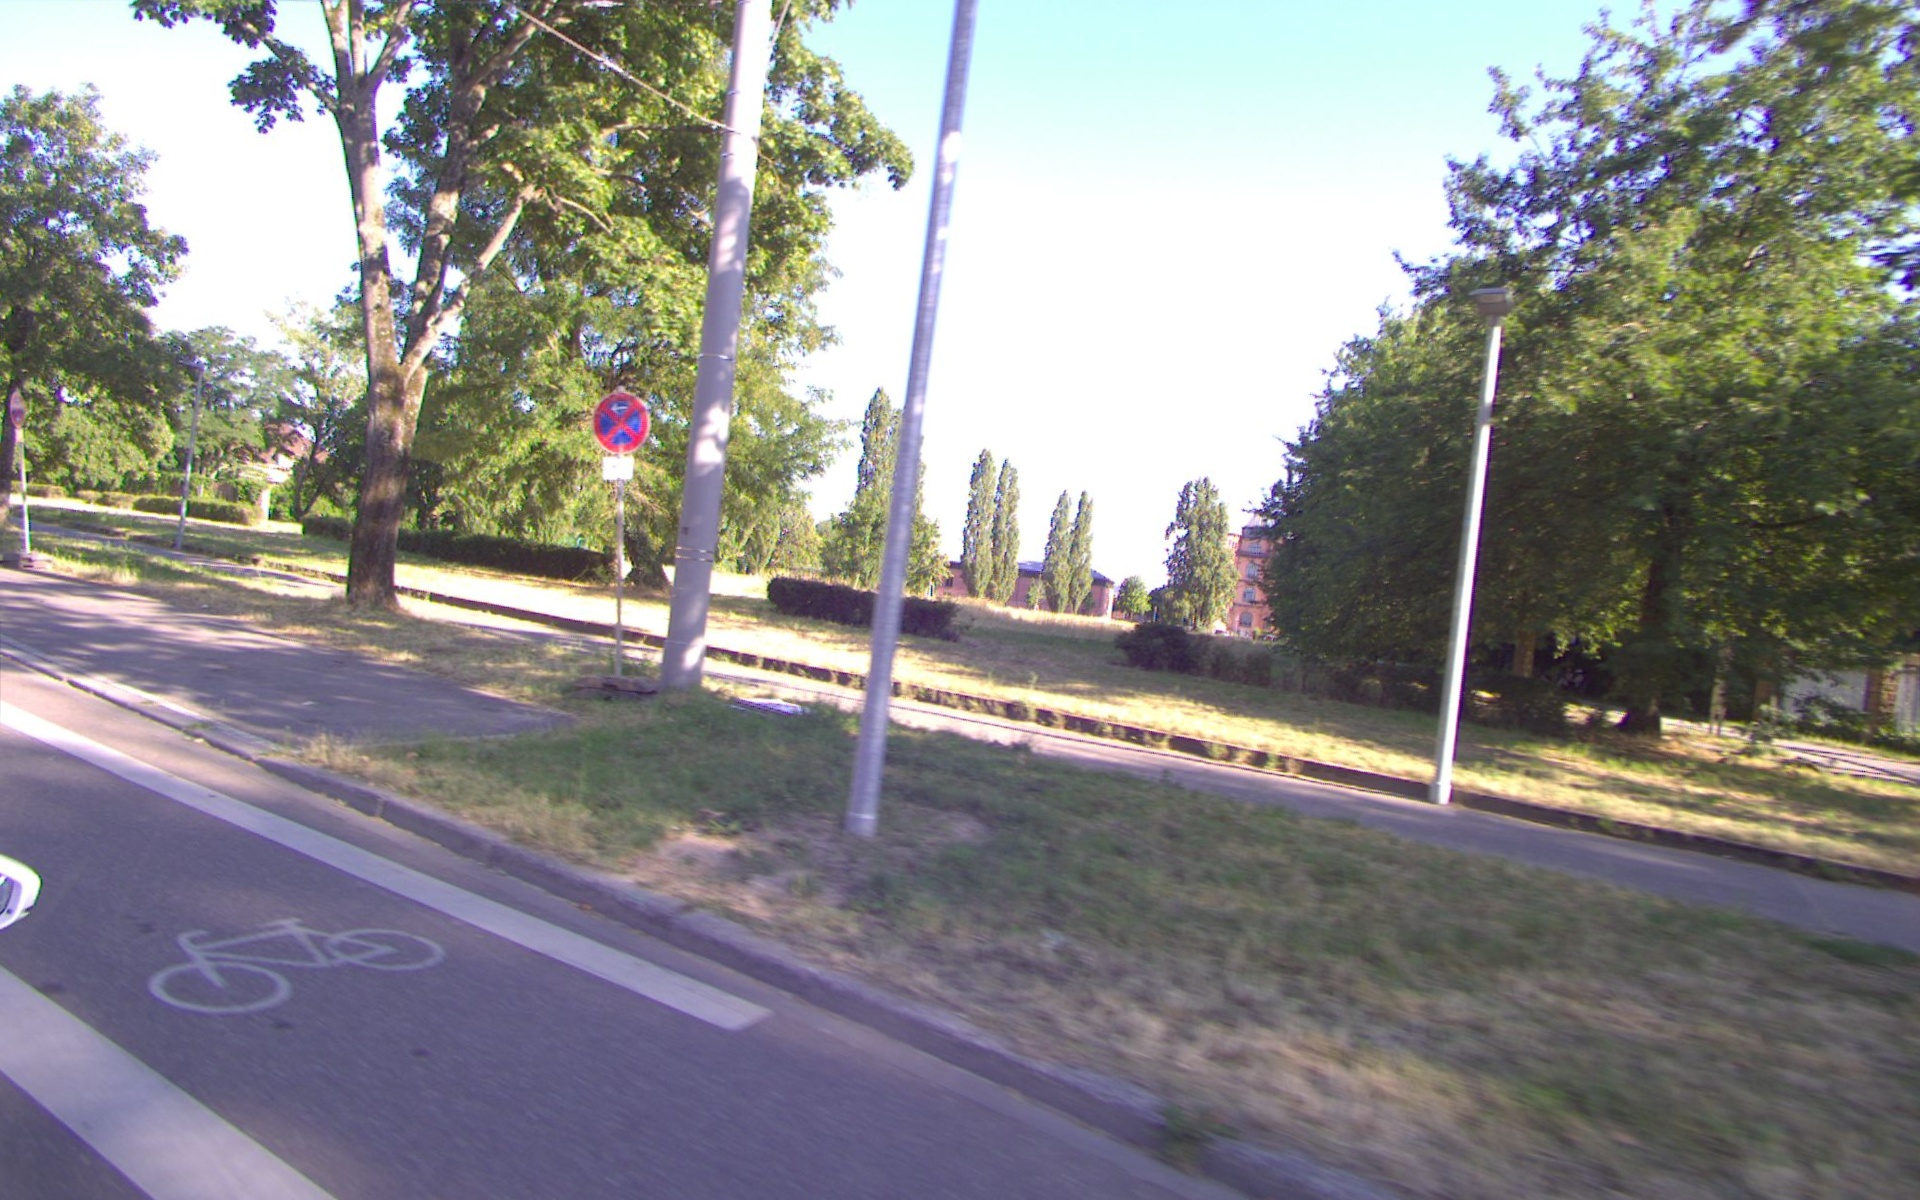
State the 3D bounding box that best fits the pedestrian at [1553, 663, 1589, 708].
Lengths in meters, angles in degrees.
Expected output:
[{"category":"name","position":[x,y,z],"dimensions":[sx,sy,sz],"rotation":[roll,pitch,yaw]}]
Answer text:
[{"category":"pedestrian","position":[25.766,3.602,42.430],"dimensions":[1.009,1.776,0.827],"rotation":[7,-1,23]}]
